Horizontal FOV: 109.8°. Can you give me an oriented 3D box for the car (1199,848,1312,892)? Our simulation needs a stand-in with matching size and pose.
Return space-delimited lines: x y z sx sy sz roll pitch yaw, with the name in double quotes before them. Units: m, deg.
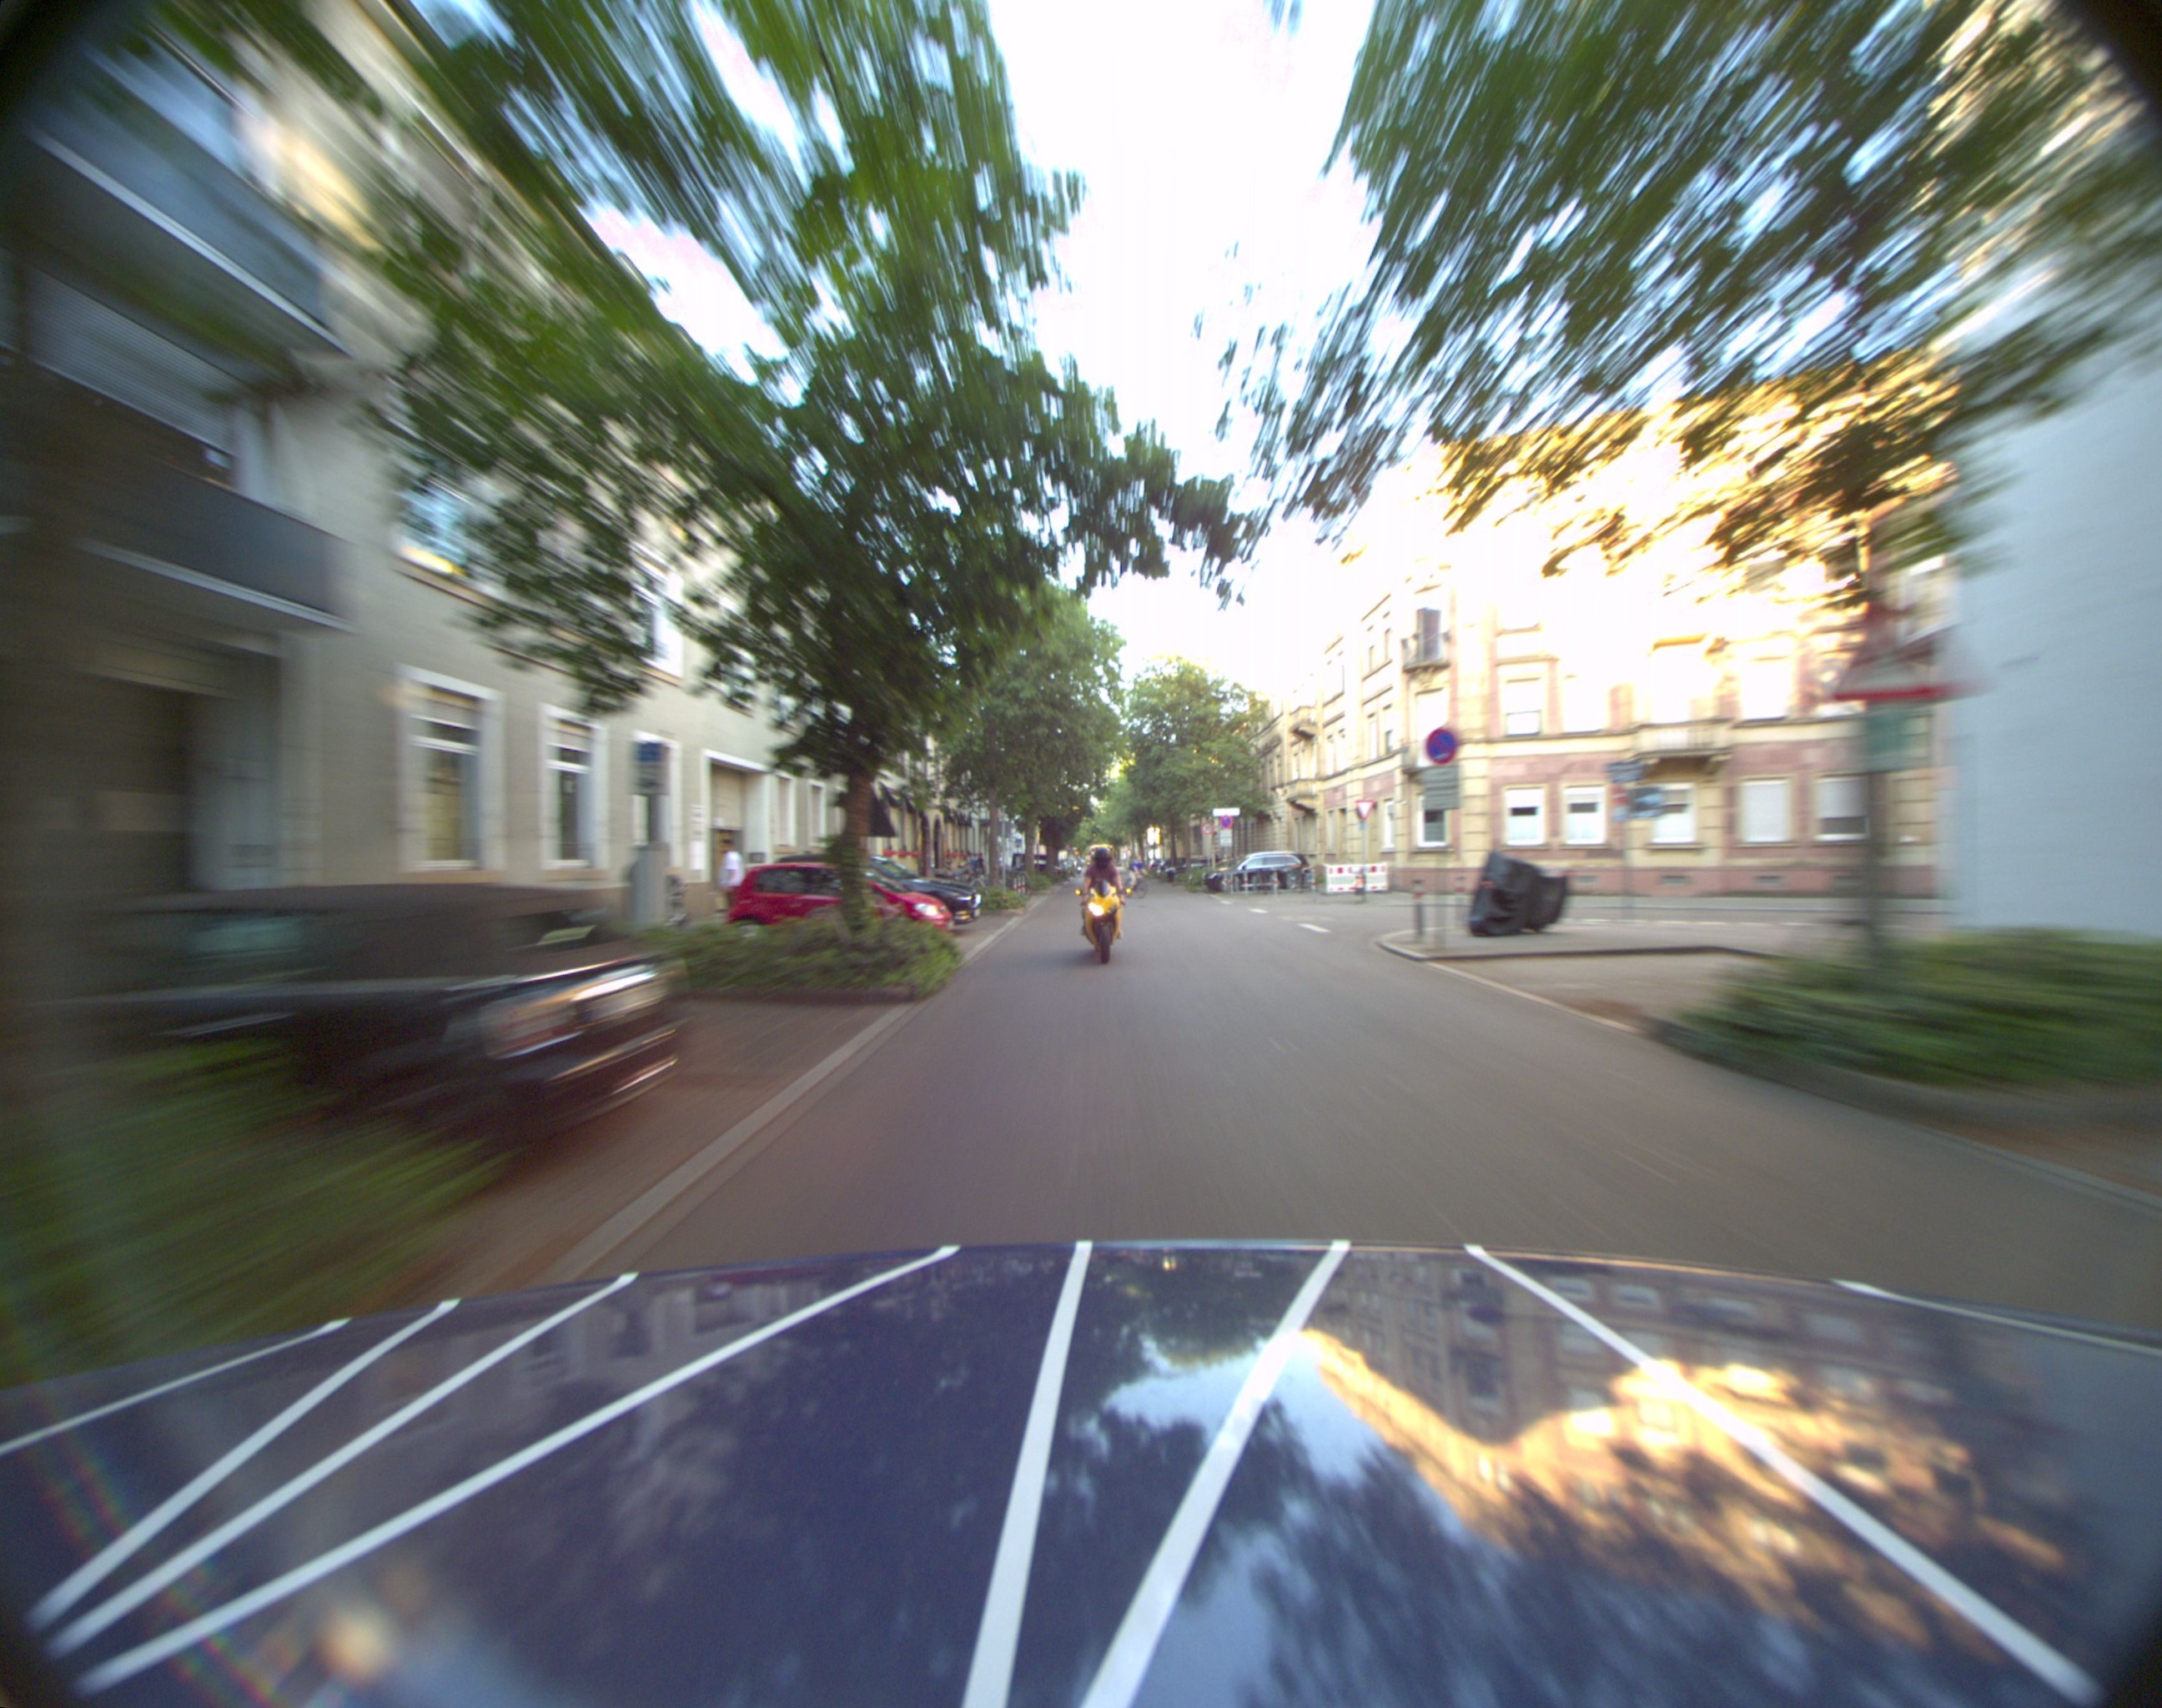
"car" 7.454 0.678 32.793 4.436 1.641 1.873 -3 -1 2

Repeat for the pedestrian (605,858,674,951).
"pedestrian" -7.526 0.835 12.983 0.656 1.527 0.831 0 0 2

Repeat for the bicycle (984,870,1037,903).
"bicycle" -2.566 1.168 27.478 1.843 1.129 0.744 0 0 -9

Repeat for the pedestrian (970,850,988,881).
"pedestrian" -5.896 0.663 43.888 0.712 1.728 0.749 1 -1 21

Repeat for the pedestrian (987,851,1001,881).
"pedestrian" -5.073 0.696 44.336 0.708 1.728 0.726 1 -1 -4

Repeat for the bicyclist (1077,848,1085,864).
"bicyclist" 0.003 0.169 74.392 0.637 1.551 0.818 -3 0 -6

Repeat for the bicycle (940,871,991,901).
"bicycle" -4.244 1.176 27.946 1.799 1.101 0.500 0 0 -4

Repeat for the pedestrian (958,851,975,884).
"pedestrian" -6.128 0.707 40.589 0.779 1.728 0.683 1 -1 -15

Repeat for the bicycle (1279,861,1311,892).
"bicycle" 8.338 0.863 29.664 0.670 1.057 1.861 -4 2 1

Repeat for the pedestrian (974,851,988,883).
"pedestrian" -5.522 0.732 42.042 0.616 1.728 0.623 1 -1 1

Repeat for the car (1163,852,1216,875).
"car" 8.462 0.751 59.373 3.810 1.662 1.714 -3 -1 0

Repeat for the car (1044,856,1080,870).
"car" -2.279 1.038 90.434 4.119 1.608 1.961 -1 0 2

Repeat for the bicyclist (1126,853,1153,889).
"bicyclist" 2.270 0.680 29.660 0.675 1.355 0.775 -3 0 -33

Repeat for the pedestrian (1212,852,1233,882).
"pedestrian" 8.112 0.739 43.547 0.832 1.661 0.795 0 0 -27

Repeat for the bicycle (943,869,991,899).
"bicycle" -4.391 1.159 29.320 1.800 1.136 0.651 0 0 -7

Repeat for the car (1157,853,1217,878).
"car" 7.885 0.826 56.772 4.211 1.662 1.908 -3 -1 1

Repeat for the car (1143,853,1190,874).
"car" 7.782 0.835 69.228 3.975 1.587 1.781 -5 0 1

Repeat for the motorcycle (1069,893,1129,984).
"motorcycle" 0.280 1.139 10.747 0.737 1.053 1.964 -2 0 3

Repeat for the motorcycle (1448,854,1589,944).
"motorcycle" 7.800 0.767 13.554 2.217 1.473 0.858 -1 -1 -17

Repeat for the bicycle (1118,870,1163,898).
"bicycle" 2.304 1.157 29.657 0.675 1.024 1.972 -2 0 -33

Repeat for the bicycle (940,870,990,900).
"bicycle" -4.337 1.168 28.467 1.799 1.101 0.500 0 0 -4

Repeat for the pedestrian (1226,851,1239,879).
"pedestrian" 9.632 0.706 48.301 0.736 1.729 0.671 -2 0 8

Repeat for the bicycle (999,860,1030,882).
"bicycle" -4.022 1.013 45.777 1.800 1.225 0.673 2 0 -8

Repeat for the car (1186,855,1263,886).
"car" 7.553 0.864 40.199 3.701 1.449 1.873 -3 -1 1

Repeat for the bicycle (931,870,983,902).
"bicycle" -4.433 1.149 27.264 1.800 1.136 0.668 0 0 -8

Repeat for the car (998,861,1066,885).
"car" -3.238 1.237 51.238 4.412 1.385 1.885 2 0 -1

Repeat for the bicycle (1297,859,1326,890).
"bicycle" 9.012 0.790 29.741 0.518 1.101 1.861 -4 2 1

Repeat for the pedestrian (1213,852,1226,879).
"pedestrian" 8.766 0.721 48.049 0.736 1.729 0.671 -2 0 8

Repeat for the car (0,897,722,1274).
"car" -4.121 1.009 4.067 3.492 1.444 1.899 0 0 -1

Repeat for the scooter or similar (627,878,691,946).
"scooter or similar" -7.510 1.021 13.548 0.656 1.146 0.831 0 0 2

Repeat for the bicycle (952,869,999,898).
"bicycle" -4.185 1.165 30.133 1.799 1.122 0.664 0 0 -5

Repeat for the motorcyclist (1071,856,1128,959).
"motorcyclist" 0.276 0.741 10.862 0.737 1.404 0.726 -2 0 3

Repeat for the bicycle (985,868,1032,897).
"bicycle" -2.960 1.159 31.019 1.834 1.171 0.673 0 0 0

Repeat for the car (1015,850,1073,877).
"car" -3.081 0.775 63.767 4.701 1.999 2.037 2 0 0

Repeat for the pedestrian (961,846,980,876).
"pedestrian" -6.268 0.399 43.059 0.725 1.728 0.746 1 -1 28

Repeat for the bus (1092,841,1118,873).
"bus" 2.588 0.348 85.819 2.668 3.175 11.899 -2 0 1

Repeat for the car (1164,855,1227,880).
"car" 7.514 0.868 50.088 3.954 1.523 1.908 -2 0 3

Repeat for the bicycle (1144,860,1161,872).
"bicycle" 7.550 1.266 80.677 1.775 1.225 0.500 -1 1 6

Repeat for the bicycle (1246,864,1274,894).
"bicycle" 6.978 0.959 29.687 0.523 1.053 1.861 -4 2 -1

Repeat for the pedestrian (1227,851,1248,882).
"pedestrian" 8.859 0.724 42.972 0.832 1.727 0.795 0 0 -27

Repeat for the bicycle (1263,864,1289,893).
"bicycle" 7.593 0.932 29.706 0.523 1.013 1.861 -4 2 1

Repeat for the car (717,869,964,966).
"car" -3.839 0.989 12.608 3.492 1.444 1.899 0 0 -1

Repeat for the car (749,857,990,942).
"car" -4.272 0.899 15.816 4.436 1.646 1.900 0 0 3

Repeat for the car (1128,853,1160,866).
"car" 8.455 0.733 102.207 4.180 1.548 1.827 -1 0 4

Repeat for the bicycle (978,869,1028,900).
"bicycle" -2.962 1.150 28.815 1.834 1.171 0.601 0 0 0

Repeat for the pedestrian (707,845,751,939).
"pedestrian" -6.730 0.704 14.522 0.693 1.727 0.672 0 1 -30

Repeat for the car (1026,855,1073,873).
"car" -3.115 1.032 76.676 4.602 1.569 1.944 2 0 0

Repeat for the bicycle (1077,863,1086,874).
"bicycle" 0.065 1.416 74.432 0.637 0.977 1.980 -3 -1 -6
